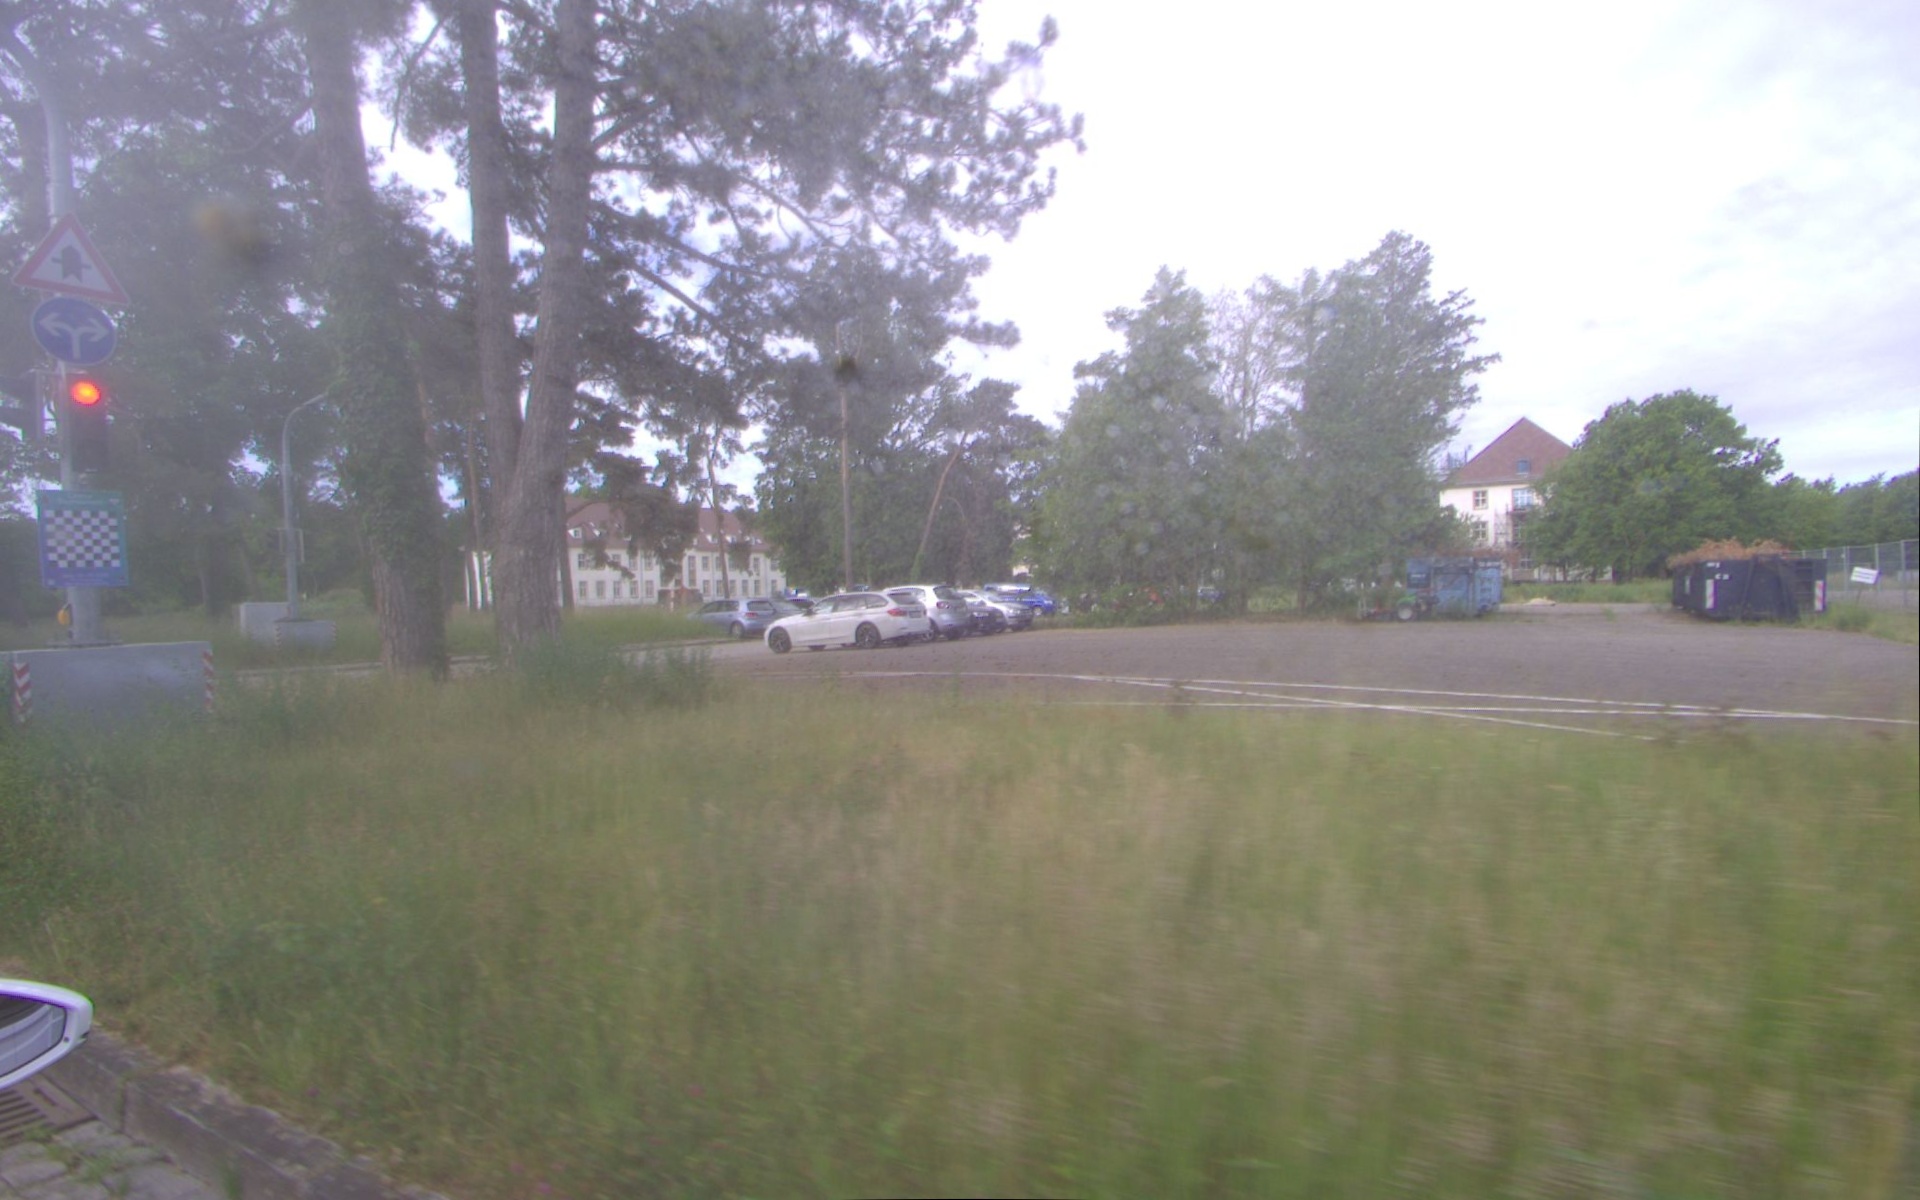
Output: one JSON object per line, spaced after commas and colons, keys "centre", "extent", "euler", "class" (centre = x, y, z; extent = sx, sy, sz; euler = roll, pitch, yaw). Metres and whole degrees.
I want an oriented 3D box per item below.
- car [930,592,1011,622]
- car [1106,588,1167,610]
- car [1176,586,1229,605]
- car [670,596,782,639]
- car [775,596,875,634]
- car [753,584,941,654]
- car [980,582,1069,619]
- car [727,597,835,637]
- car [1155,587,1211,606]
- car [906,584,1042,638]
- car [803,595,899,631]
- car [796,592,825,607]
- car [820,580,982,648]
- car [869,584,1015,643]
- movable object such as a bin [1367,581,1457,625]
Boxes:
{"centre": [0.552, 0.373, 53.622], "extent": [4.189, 1.522, 1.610], "euler": [-1, 1, 37], "class": "car"}
{"centre": [13.109, -0.060, 74.385], "extent": [4.182, 1.542, 1.730], "euler": [-1, 1, 32], "class": "car"}
{"centre": [20.995, -0.391, 86.709], "extent": [4.182, 1.542, 1.730], "euler": [-1, 1, 32], "class": "car"}
{"centre": [-8.869, 0.645, 37.850], "extent": [4.184, 1.529, 1.729], "euler": [-1, 1, 33], "class": "car"}
{"centre": [-5.728, 0.627, 42.239], "extent": [4.189, 1.487, 1.727], "euler": [-1, 1, 37], "class": "car"}
{"centre": [-2.939, 0.506, 25.799], "extent": [4.541, 1.505, 1.846], "euler": [-4, -2, 29], "class": "car"}
{"centre": [3.738, 0.054, 58.047], "extent": [4.724, 2.053, 2.131], "euler": [-1, 1, 33], "class": "car"}
{"centre": [-7.158, 0.671, 39.882], "extent": [4.184, 1.487, 1.729], "euler": [-1, 1, 33], "class": "car"}
{"centre": [18.514, -0.302, 83.066], "extent": [4.182, 1.542, 1.730], "euler": [-1, 1, 32], "class": "car"}
{"centre": [0.428, 0.370, 33.129], "extent": [4.186, 1.504, 1.696], "euler": [-4, -1, 33], "class": "car"}
{"centre": [-4.865, 0.570, 44.493], "extent": [4.189, 1.487, 1.727], "euler": [-1, 1, 37], "class": "car"}
{"centre": [-20.833, -0.076, 139.407], "extent": [1.899, 1.930, 4.056], "euler": [-1, -1, 29], "class": "car"}
{"centre": [-1.677, 0.399, 28.120], "extent": [4.181, 1.626, 1.779], "euler": [-4, 0, 29], "class": "car"}
{"centre": [-0.574, 0.421, 30.529], "extent": [4.186, 1.504, 1.696], "euler": [-4, -1, 33], "class": "car"}
{"centre": [12.240, 0.093, 27.185], "extent": [2.176, 1.149, 0.960], "euler": [-1, -1, 23], "class": "movable object such as a bin"}
